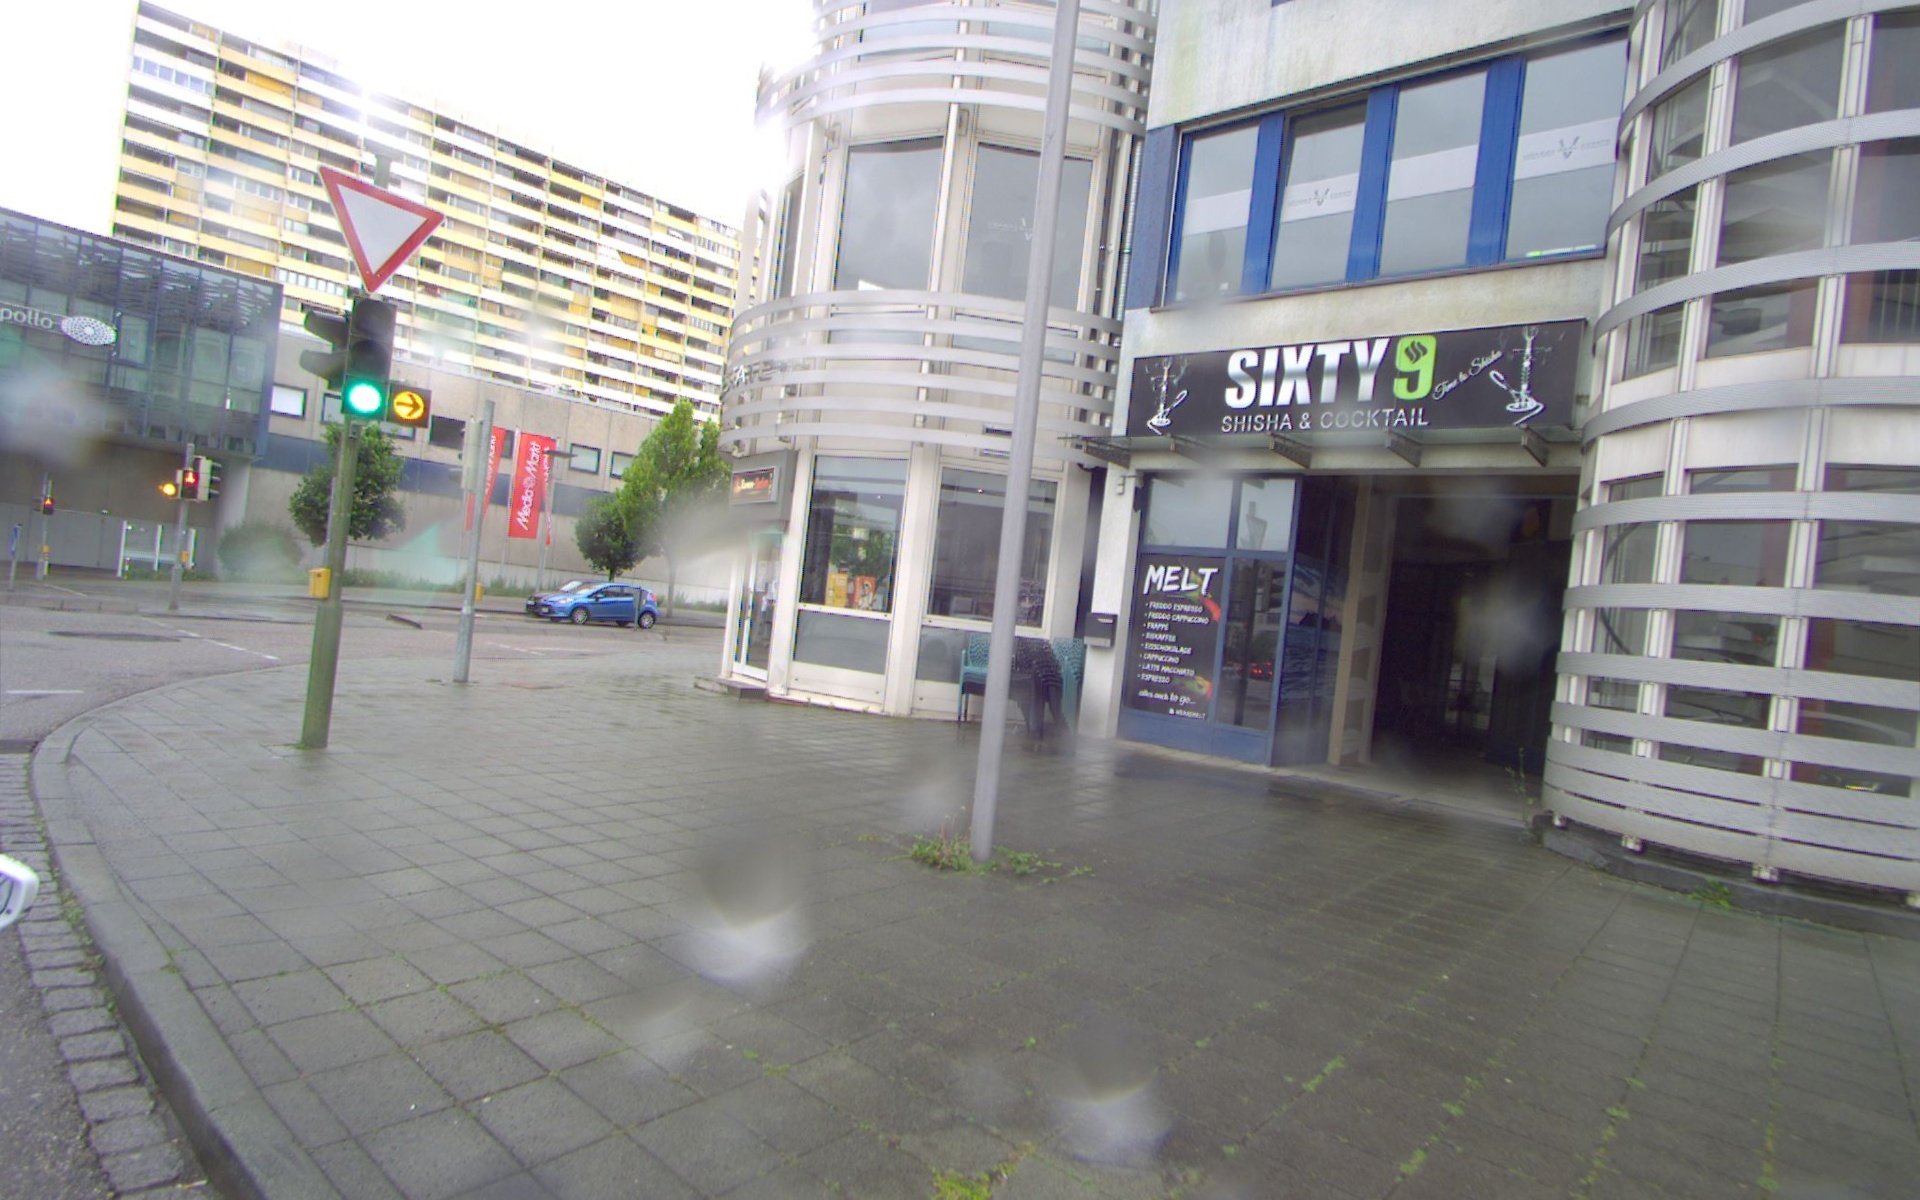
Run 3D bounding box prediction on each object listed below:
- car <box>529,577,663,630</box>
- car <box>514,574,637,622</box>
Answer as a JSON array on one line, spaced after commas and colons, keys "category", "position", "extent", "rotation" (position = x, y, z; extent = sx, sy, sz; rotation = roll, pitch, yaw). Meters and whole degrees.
[{"category": "car", "position": [-12.032, 0.139, 33.418], "extent": [1.656, 1.415, 3.837], "rotation": [5, 0, 40]}, {"category": "car", "position": [-13.734, -0.053, 36.055], "extent": [1.720, 1.412, 3.677], "rotation": [5, 0, 41]}]
